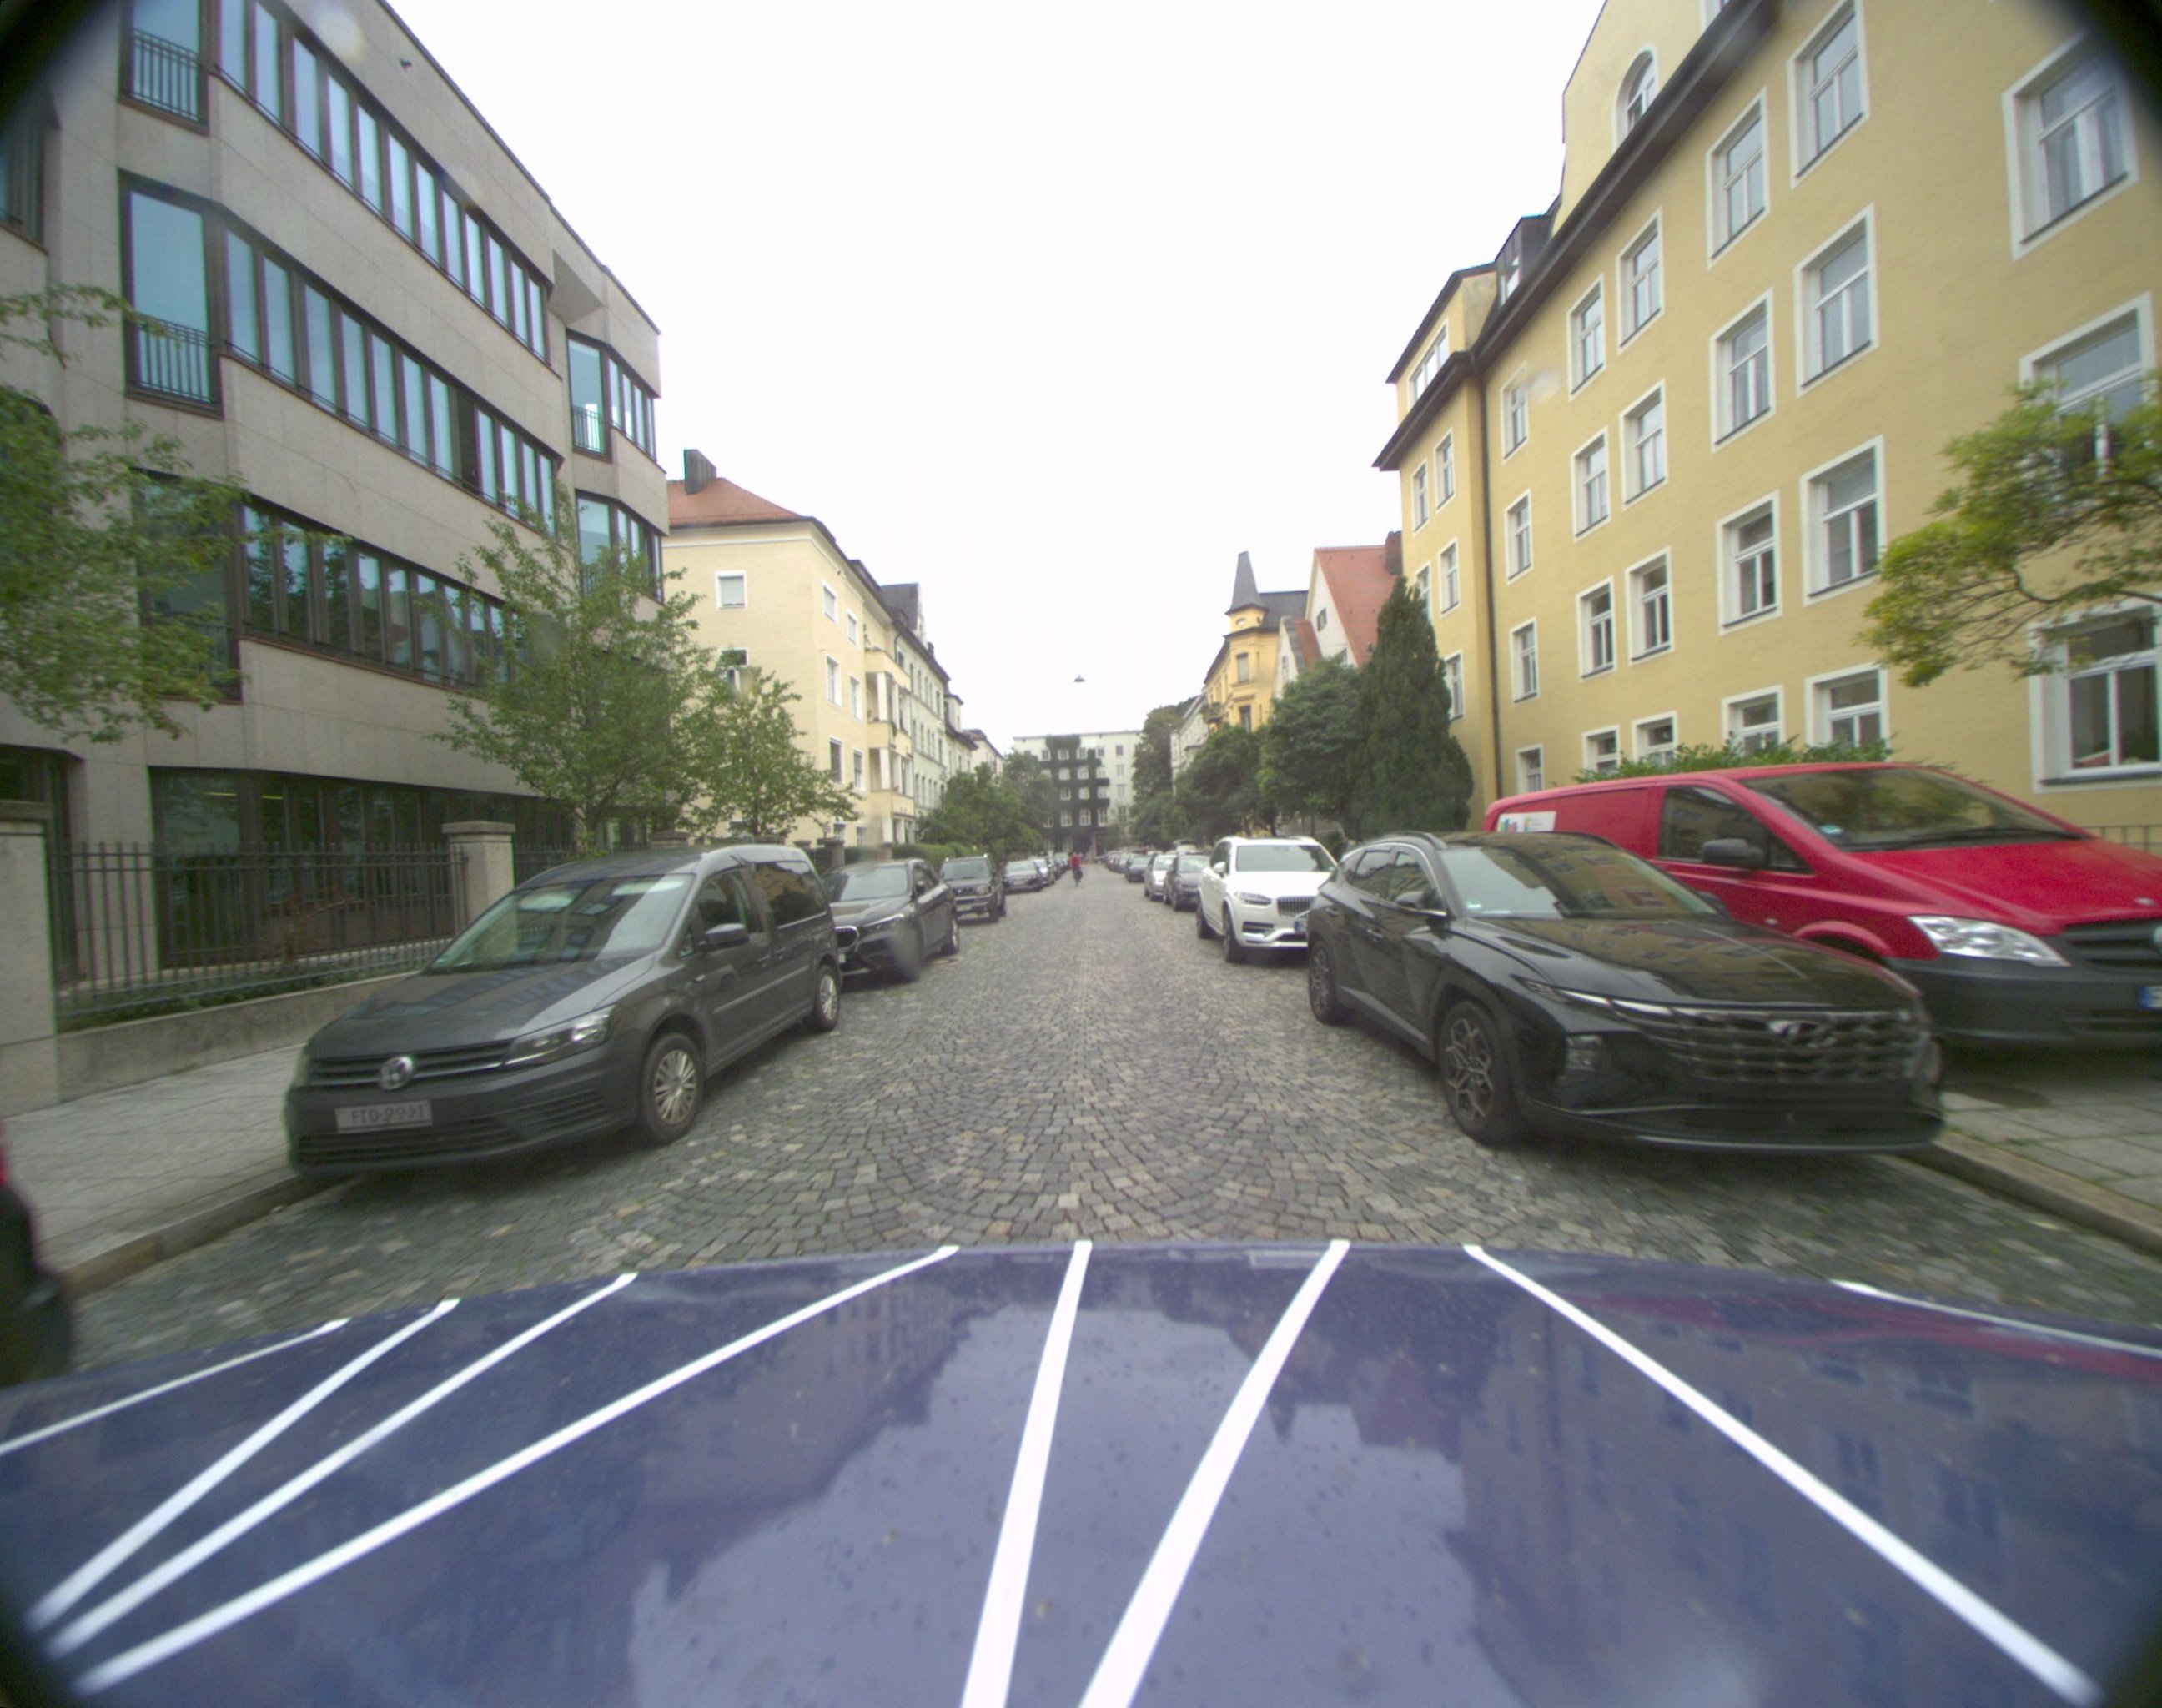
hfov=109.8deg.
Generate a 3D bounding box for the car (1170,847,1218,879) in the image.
[{"bbox_3d":[5.691,0.422,38.770,1.780,1.408,4.561,-4,1,2],"label":"car"}]

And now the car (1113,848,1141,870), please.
[{"bbox_3d":[3.537,0.377,58.839,1.744,1.577,4.191,-2,1,-2],"label":"car"}]

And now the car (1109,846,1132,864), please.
[{"bbox_3d":[3.696,0.085,70.971,1.846,1.577,4.191,-2,1,0],"label":"car"}]

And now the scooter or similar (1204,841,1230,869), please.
[{"bbox_3d":[7.916,0.033,44.324,1.064,1.514,2.634,-3,1,1],"label":"scooter or similar"}]

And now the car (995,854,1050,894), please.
[{"bbox_3d":[-2.651,0.861,35.689,1.998,1.543,5.014,-5,1,1],"label":"car"}]

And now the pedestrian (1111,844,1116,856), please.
[{"bbox_3d":[5.393,-0.687,124.877,0.701,1.905,0.862,-5,2,4],"label":"pedestrian"}]

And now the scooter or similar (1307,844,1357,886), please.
[{"bbox_3d":[7.824,0.327,23.759,0.958,1.193,1.522,-5,1,1],"label":"scooter or similar"}]

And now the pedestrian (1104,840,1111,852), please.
[{"bbox_3d":[4.389,-1.306,124.685,0.703,1.905,0.861,-6,2,-30],"label":"pedestrian"}]

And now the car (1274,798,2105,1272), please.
[{"bbox_3d":[2.841,0.646,5.199,1.922,1.725,4.755,1,1,2],"label":"car"}]

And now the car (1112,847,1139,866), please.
[{"bbox_3d":[3.778,0.182,65.189,1.875,1.462,5.132,-2,1,-1],"label":"car"}]

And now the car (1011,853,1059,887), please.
[{"bbox_3d":[-2.409,0.793,40.907,1.998,1.543,4.986,-5,1,2],"label":"car"}]

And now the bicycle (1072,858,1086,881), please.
[{"bbox_3d":[-0.091,0.745,37.111,0.636,1.021,1.955,-4,1,0],"label":"bicycle"}]

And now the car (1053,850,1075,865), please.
[{"bbox_3d":[-1.857,0.345,82.431,1.942,1.457,4.532,-5,1,3],"label":"car"}]

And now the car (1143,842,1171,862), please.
[{"bbox_3d":[6.223,-0.177,62.506,1.846,1.457,4.389,-4,1,1],"label":"car"}]

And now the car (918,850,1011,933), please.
[{"bbox_3d":[-2.874,0.861,19.535,1.623,1.741,3.886,-6,1,0],"label":"car"}]

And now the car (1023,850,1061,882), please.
[{"bbox_3d":[-2.319,0.676,45.844,1.898,1.644,4.293,-4,1,1],"label":"car"}]

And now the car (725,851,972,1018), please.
[{"bbox_3d":[-2.985,0.906,11.035,1.865,1.692,4.813,-6,1,1],"label":"car"}]

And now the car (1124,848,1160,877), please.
[{"bbox_3d":[3.638,0.484,45.985,1.744,1.594,4.536,-2,1,0],"label":"car"}]

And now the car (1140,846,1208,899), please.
[{"bbox_3d":[2.979,0.539,25.134,1.718,1.553,4.390,-1,1,1],"label":"car"}]

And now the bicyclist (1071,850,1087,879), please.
[{"bbox_3d":[-0.107,0.515,37.053,0.648,1.350,0.656,-4,1,0],"label":"bicyclist"}]

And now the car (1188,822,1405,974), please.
[{"bbox_3d":[2.969,0.506,11.761,2.011,1.798,5.174,-1,1,2],"label":"car"}]

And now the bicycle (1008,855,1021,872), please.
[{"bbox_3d":[-4.811,0.709,54.950,0.582,1.188,1.646,-4,1,-13],"label":"bicycle"}]

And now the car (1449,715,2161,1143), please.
[{"bbox_3d":[5.337,0.275,6.157,1.999,1.920,5.330,-4,1,0],"label":"car"}]

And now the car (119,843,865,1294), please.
[{"bbox_3d":[-3.219,0.929,5.597,1.793,1.786,4.509,-7,1,0],"label":"car"}]

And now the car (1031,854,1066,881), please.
[{"bbox_3d":[-2.134,0.847,51.049,1.823,1.480,5.049,-6,1,1],"label":"car"}]

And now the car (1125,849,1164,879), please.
[{"bbox_3d":[3.343,0.498,40.859,1.819,1.447,4.912,-1,1,2],"label":"car"}]

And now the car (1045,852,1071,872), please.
[{"bbox_3d":[-2.012,0.673,67.123,1.909,1.494,5.105,-6,1,1],"label":"car"}]

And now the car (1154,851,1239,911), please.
[{"bbox_3d":[3.010,0.653,20.519,1.734,1.410,3.936,-1,1,1],"label":"car"}]

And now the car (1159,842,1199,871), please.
[{"bbox_3d":[5.885,0.138,45.921,1.744,1.527,4.466,-4,1,0],"label":"car"}]
